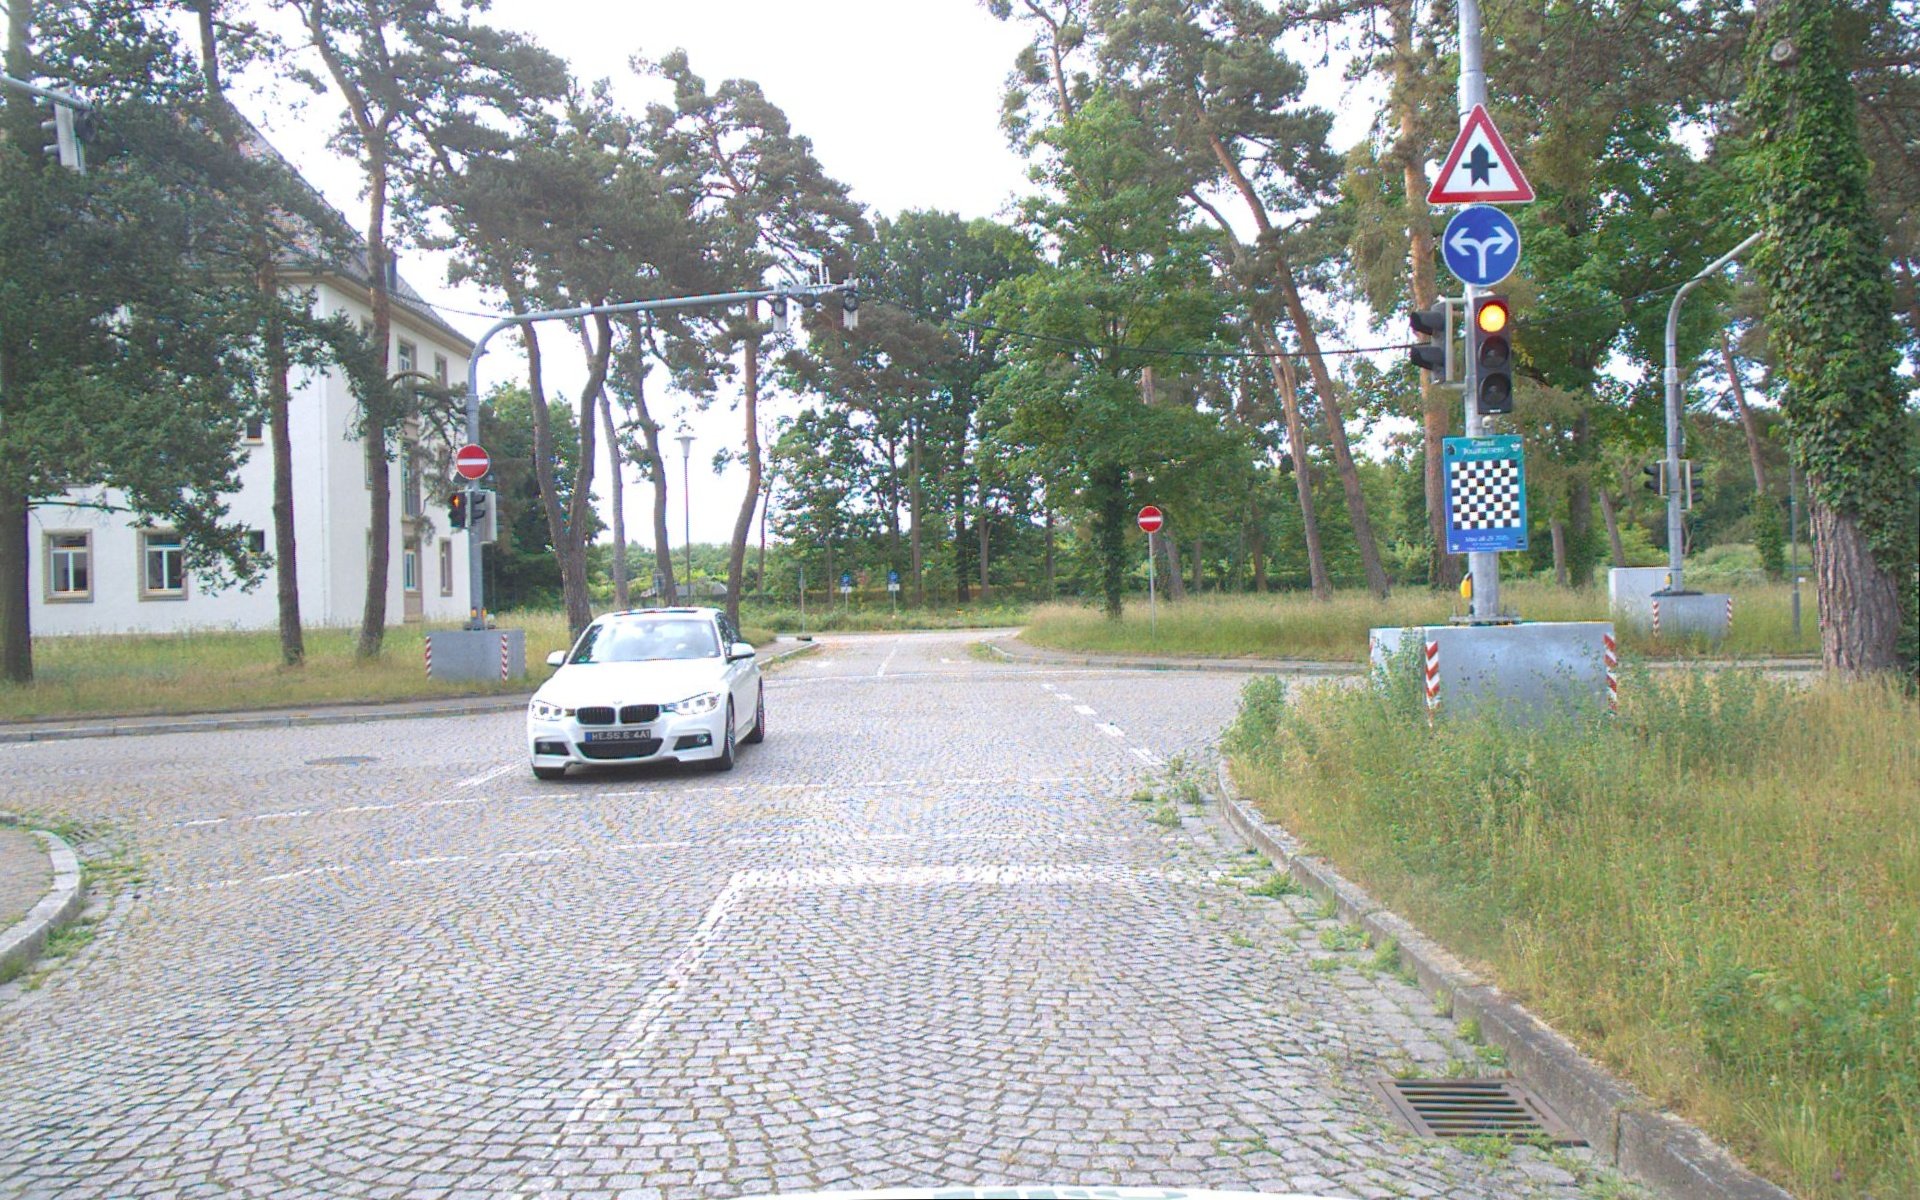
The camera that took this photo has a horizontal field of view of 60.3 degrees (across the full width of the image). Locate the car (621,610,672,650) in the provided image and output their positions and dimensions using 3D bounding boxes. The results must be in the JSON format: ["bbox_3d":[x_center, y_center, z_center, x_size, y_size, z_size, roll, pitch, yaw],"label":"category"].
[{"bbox_3d":[-15.192,1.455,80.357,1.954,1.878,3.997,0,0,-4],"label":"car"}]

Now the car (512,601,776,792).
[{"bbox_3d":[-2.886,0.809,15.992,1.738,1.463,4.217,-4,0,-1],"label":"car"}]
